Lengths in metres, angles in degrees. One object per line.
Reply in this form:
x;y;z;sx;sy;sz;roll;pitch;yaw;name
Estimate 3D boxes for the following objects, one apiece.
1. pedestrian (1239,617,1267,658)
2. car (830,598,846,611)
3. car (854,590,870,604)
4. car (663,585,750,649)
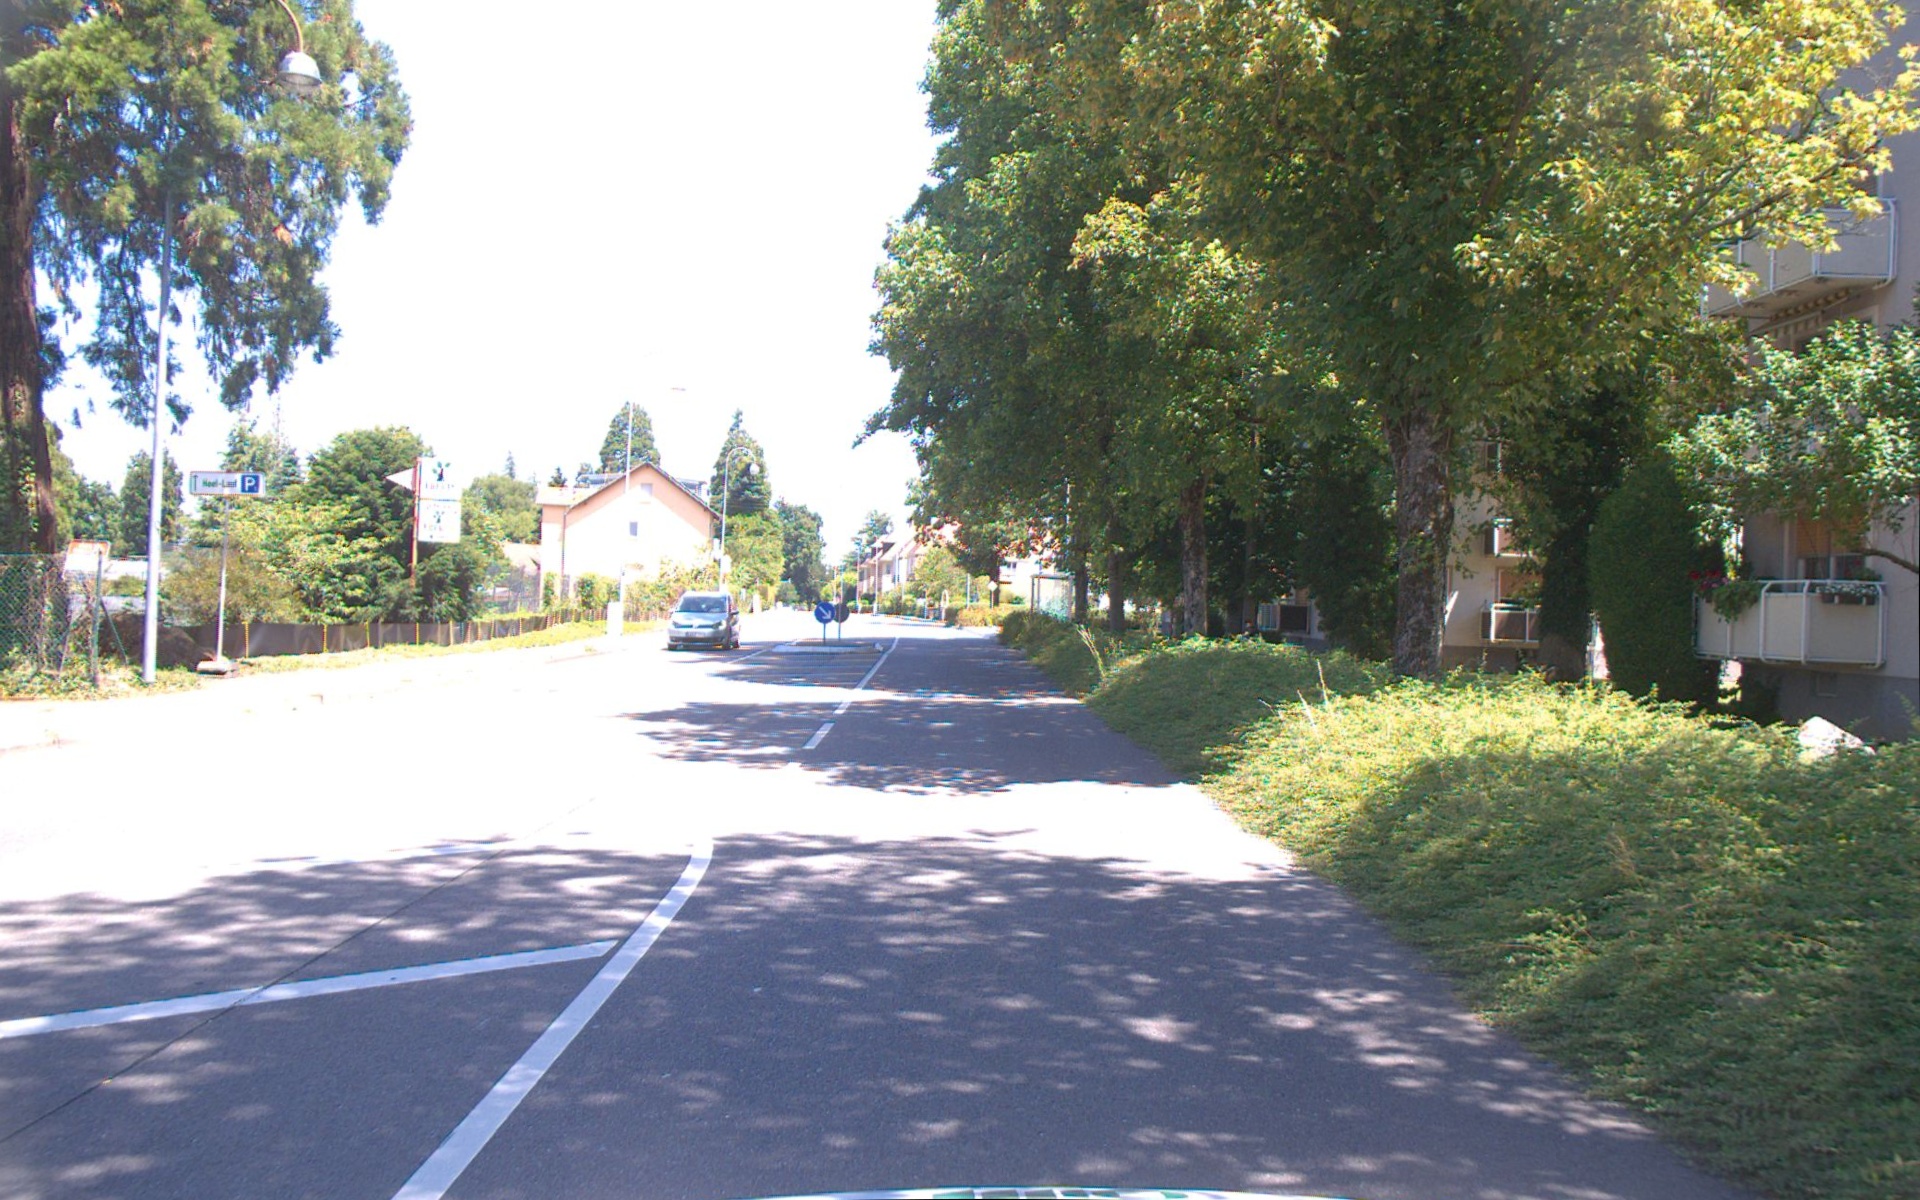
8.699;1.111;49.103;0.689;1.180;0.754;1;0;3;pedestrian
-16.126;0.609;218.217;1.778;1.748;4.000;1;0;0;car
-12.913;-0.346;218.265;1.778;1.748;4.000;1;0;0;car
-7.193;0.470;47.287;1.873;1.719;4.124;1;0;-1;car
